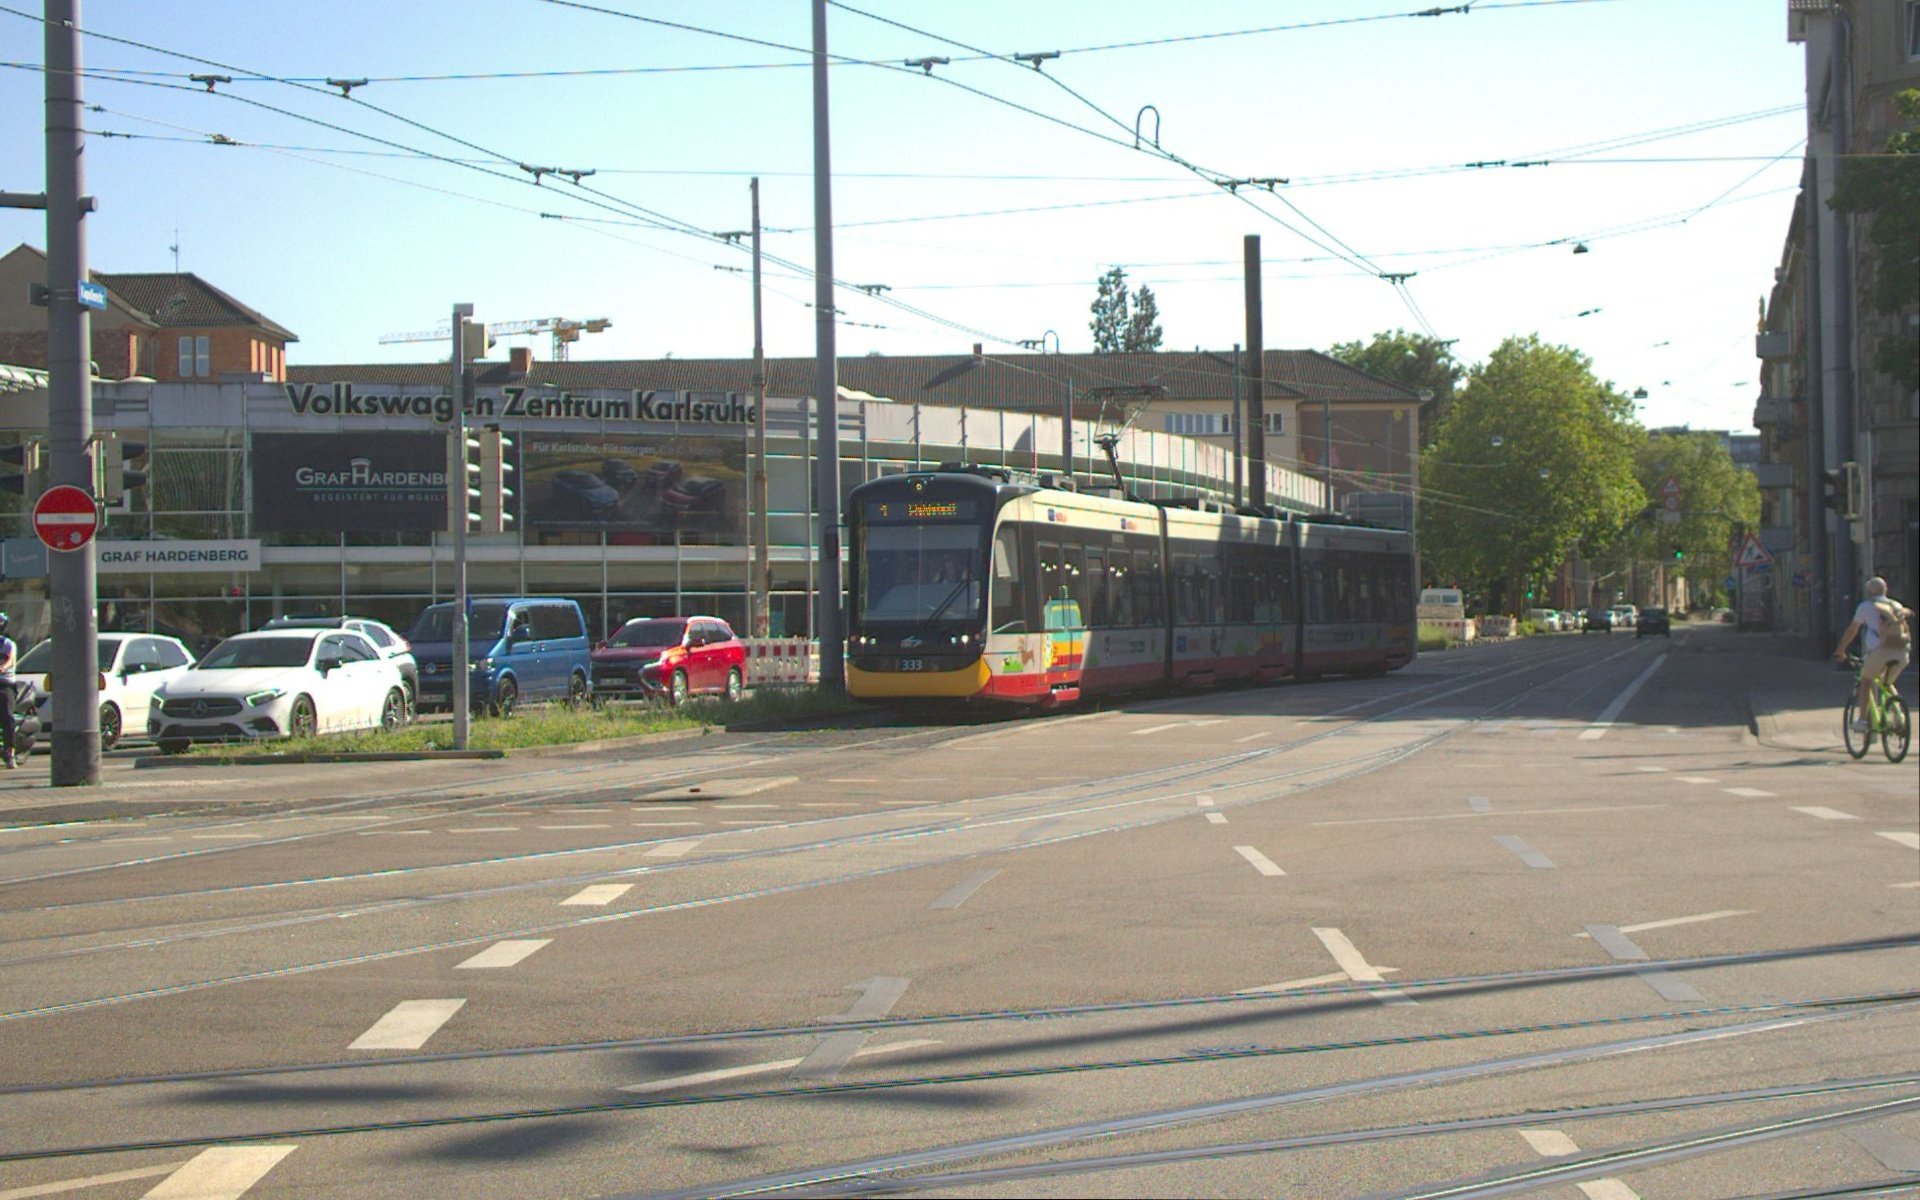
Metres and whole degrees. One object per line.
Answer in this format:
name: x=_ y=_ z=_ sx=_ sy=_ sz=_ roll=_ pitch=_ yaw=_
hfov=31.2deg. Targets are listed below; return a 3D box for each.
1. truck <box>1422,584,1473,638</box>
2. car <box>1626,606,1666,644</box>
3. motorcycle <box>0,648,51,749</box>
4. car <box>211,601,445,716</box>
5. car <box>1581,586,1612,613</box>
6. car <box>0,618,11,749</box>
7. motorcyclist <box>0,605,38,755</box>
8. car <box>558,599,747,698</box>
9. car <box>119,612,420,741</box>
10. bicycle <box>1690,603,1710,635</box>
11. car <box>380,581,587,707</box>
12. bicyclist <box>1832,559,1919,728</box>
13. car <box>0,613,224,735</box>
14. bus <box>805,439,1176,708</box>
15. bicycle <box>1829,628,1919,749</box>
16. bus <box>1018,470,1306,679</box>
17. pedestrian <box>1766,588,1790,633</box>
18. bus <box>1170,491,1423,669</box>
truck: x=26.045 y=0.604 z=183.421 sx=2.539 sy=2.820 sz=6.373 roll=1 pitch=0 yaw=9
car: x=37.369 y=1.365 z=187.269 sx=1.995 sy=2.007 sz=3.997 roll=1 pitch=0 yaw=13
motorcycle: x=-10.327 y=1.055 z=36.460 sx=0.519 sy=1.043 sz=1.746 roll=-1 pitch=0 yaw=14
car: x=-9.116 y=0.841 z=49.900 sx=1.804 sy=1.573 sz=4.162 roll=-1 pitch=-1 yaw=13
car: x=41.863 y=-0.007 z=226.081 sx=1.760 sy=1.691 sz=4.141 roll=1 pitch=0 yaw=14
car: x=-12.016 y=0.965 z=37.175 sx=1.650 sy=1.474 sz=3.968 roll=-2 pitch=-1 yaw=13
motorcyclist: x=-10.291 y=0.848 z=36.463 sx=0.585 sy=1.574 sz=0.943 roll=-1 pitch=-1 yaw=14
car: x=-5.545 y=0.869 z=62.560 sx=1.800 sy=1.713 sz=4.412 roll=-1 pitch=-1 yaw=18
car: x=-8.232 y=0.891 z=41.439 sx=1.804 sy=1.427 sz=4.538 roll=1 pitch=0 yaw=13
bicycle: x=25.848 y=0.655 z=120.086 sx=0.681 sy=1.111 sz=2.705 roll=1 pitch=0 yaw=12
car: x=-7.624 y=0.705 z=55.337 sx=1.804 sy=1.927 sz=4.162 roll=-1 pitch=-1 yaw=15
bicyclist: x=9.337 y=0.434 z=34.937 sx=0.681 sy=1.678 sz=1.120 roll=1 pitch=0 yaw=2
car: x=-10.940 y=0.900 z=43.037 sx=1.804 sy=1.427 sz=3.997 roll=1 pitch=0 yaw=13
bus: x=0.802 y=-0.359 z=52.454 sx=2.842 sy=3.577 sz=13.487 roll=0 pitch=0 yaw=13
bicycle: x=9.321 y=0.882 z=34.928 sx=0.531 sy=1.113 sz=1.934 roll=1 pitch=2 yaw=2
bus: x=3.966 y=-0.445 z=64.281 sx=2.843 sy=3.577 sz=10.716 roll=0 pitch=0 yaw=17
pedestrian: x=29.672 y=0.388 z=124.706 sx=0.798 sy=1.599 sz=0.652 roll=-1 pitch=-1 yaw=15
bus: x=7.487 y=-0.414 z=74.721 sx=2.843 sy=3.577 sz=11.259 roll=0 pitch=0 yaw=20
